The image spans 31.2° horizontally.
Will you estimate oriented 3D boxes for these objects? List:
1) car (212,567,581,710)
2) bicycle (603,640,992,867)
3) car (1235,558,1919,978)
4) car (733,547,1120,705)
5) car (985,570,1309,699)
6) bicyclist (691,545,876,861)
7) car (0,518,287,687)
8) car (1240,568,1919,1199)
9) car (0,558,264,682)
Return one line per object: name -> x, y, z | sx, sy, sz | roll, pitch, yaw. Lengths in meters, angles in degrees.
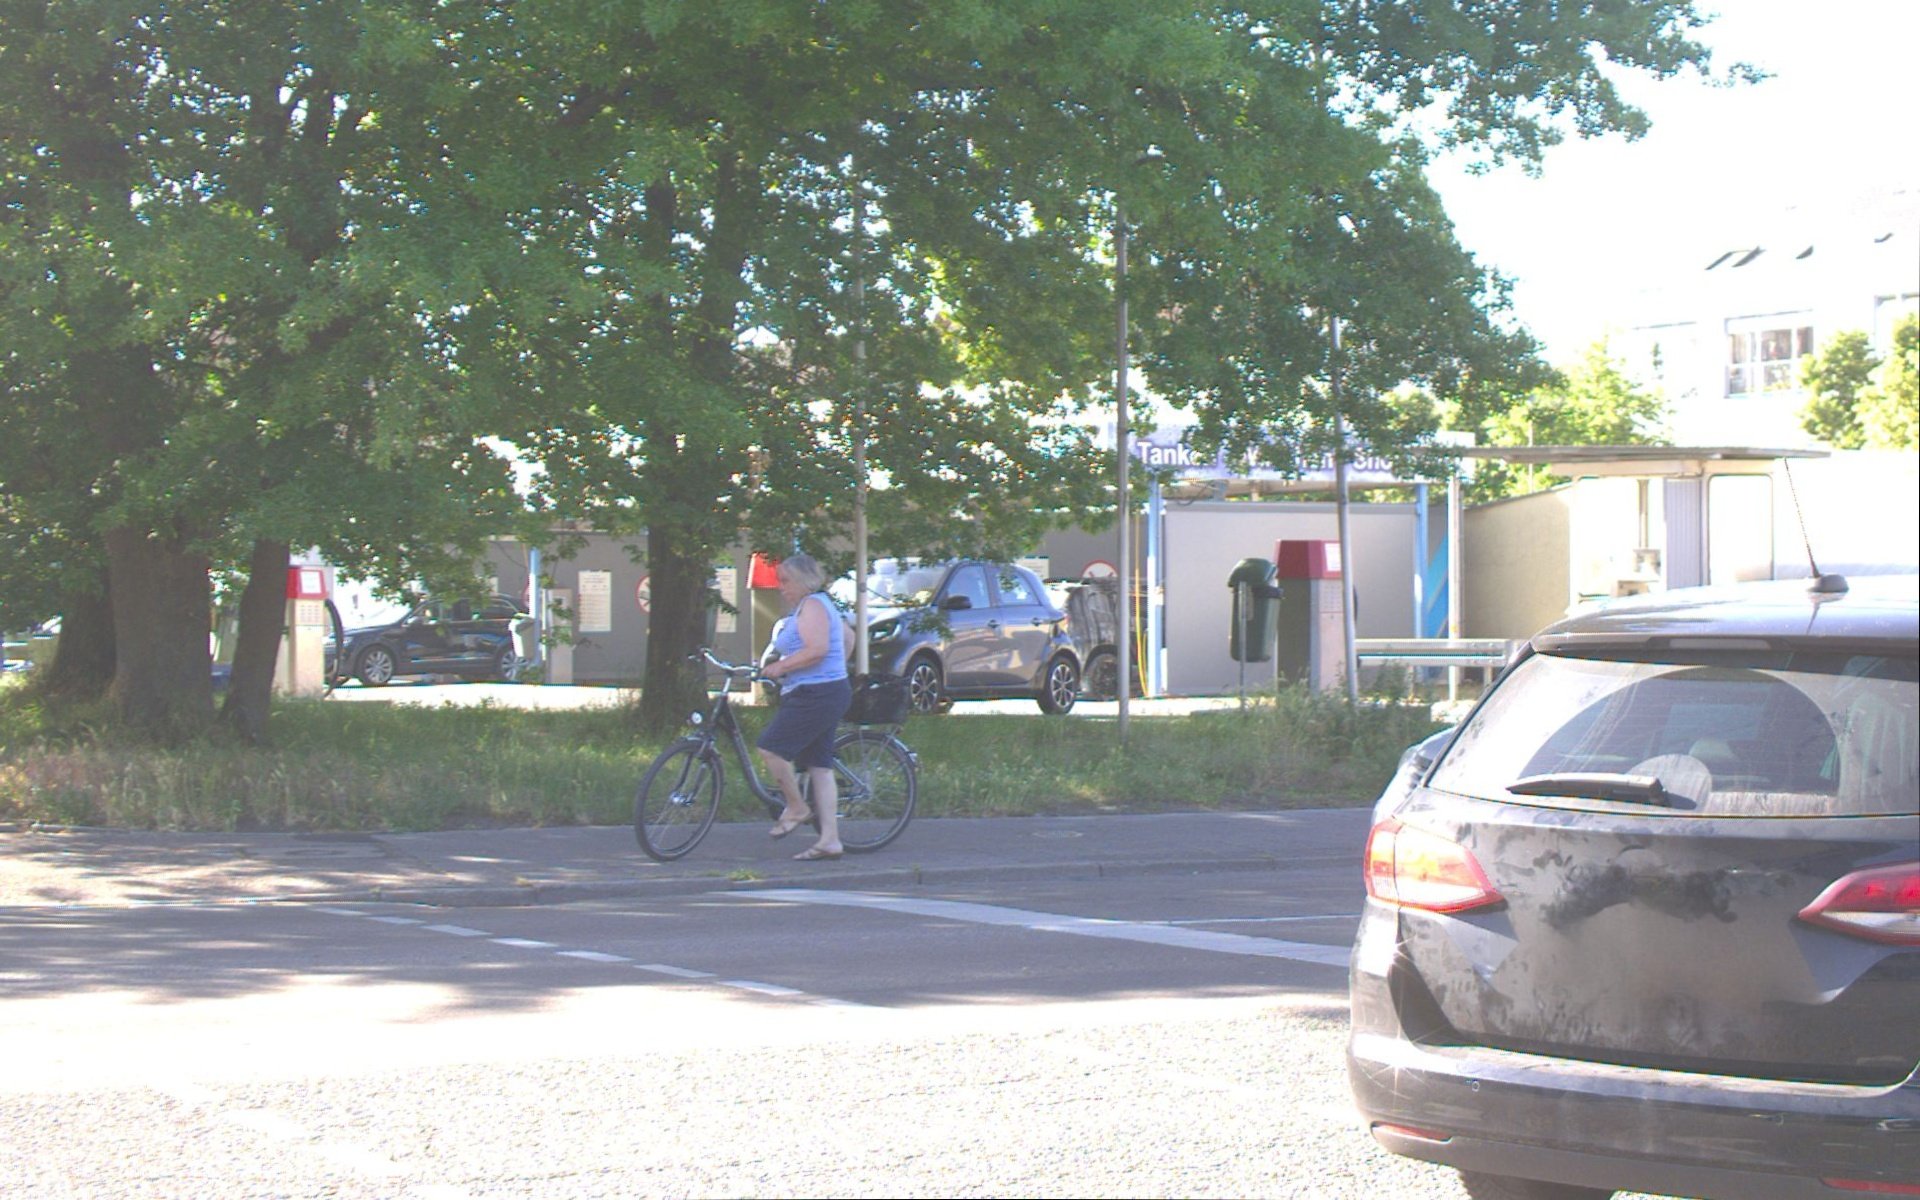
car -> -6.474, 0.470, 39.778 | 3.988, 1.507, 1.531 | 3, -2, -43
bicycle -> -0.850, 0.793, 18.268 | 2.019, 1.138, 0.529 | 0, 0, -27
car -> 3.718, 0.607, 13.877 | 4.872, 1.484, 1.843 | 0, -1, -21
car -> -0.256, 0.281, 33.109 | 1.757, 1.371, 3.992 | 0, -2, 34
car -> 2.567, 0.492, 46.952 | 3.987, 1.601, 2.000 | 3, -2, -34
bicyclist -> -0.938, 0.532, 18.240 | 0.827, 1.636, 0.542 | 0, 0, -27
car -> -12.058, 0.032, 45.853 | 5.635, 2.092, 2.000 | 3, -2, -32
car -> 2.628, 0.699, 8.097 | 1.766, 1.486, 4.281 | 1, 1, 40
car -> -10.482, 0.251, 40.797 | 3.989, 1.331, 1.798 | 3, -2, -44
